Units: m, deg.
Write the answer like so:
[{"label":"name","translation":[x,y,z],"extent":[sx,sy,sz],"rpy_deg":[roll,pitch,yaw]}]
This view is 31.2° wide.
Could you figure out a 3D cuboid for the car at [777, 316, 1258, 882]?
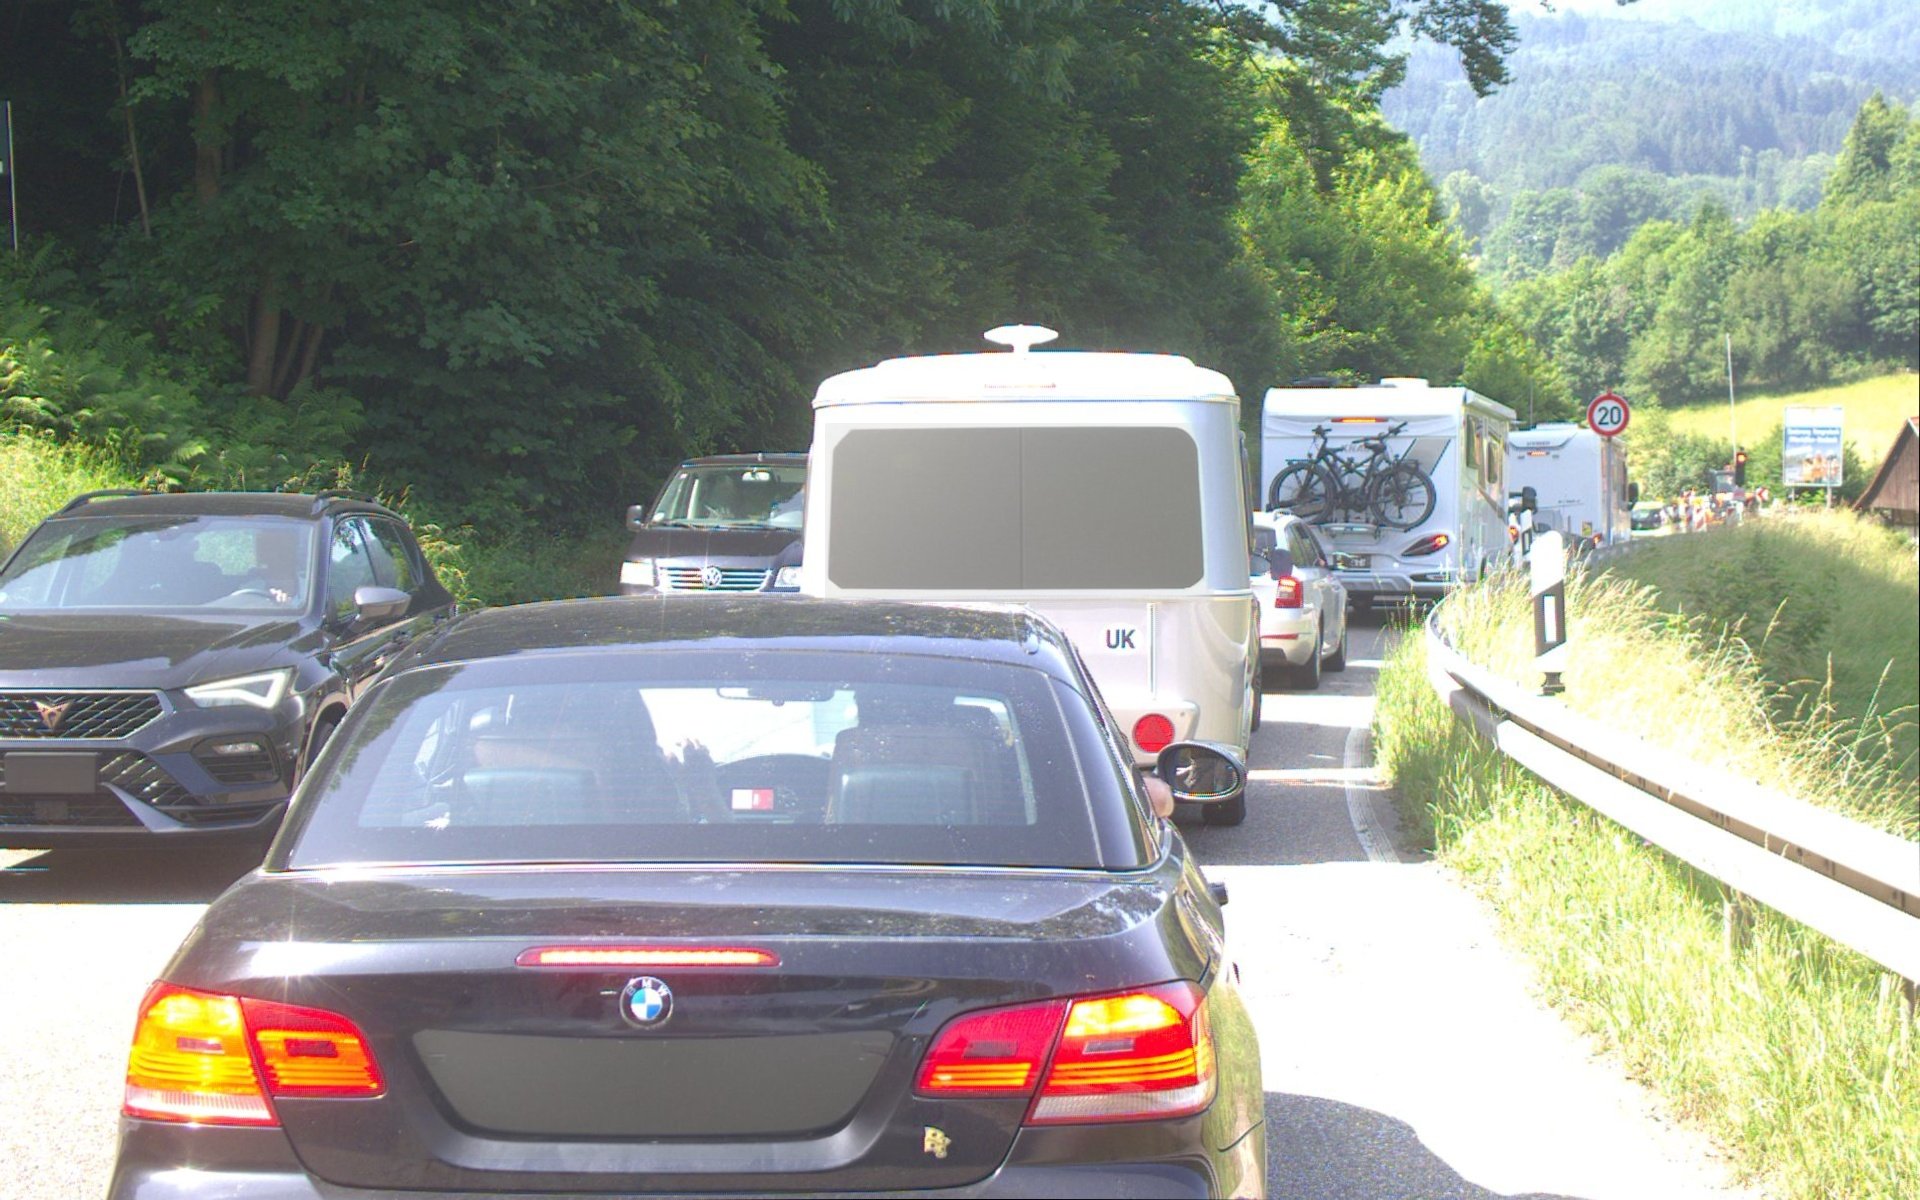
[{"label":"car","translation":[0.427,-0.087,16.775],"extent":[1.994,2.345,4.913],"rpy_deg":[0,2,5]}]

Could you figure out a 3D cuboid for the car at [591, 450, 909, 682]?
[{"label":"car","translation":[-1.741,-0.343,30.079],"extent":[1.919,1.820,4.490],"rpy_deg":[2,2,7]}]

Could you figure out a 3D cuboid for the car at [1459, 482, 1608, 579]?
[{"label":"car","translation":[9.453,-1.171,56.461],"extent":[1.789,1.459,3.997],"rpy_deg":[3,3,18]}]

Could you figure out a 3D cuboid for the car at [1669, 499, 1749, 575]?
[{"label":"car","translation":[20.555,-1.710,94.344],"extent":[1.995,1.919,3.998],"rpy_deg":[4,1,13]}]

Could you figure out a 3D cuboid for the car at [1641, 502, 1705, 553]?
[{"label":"car","translation":[25.219,-2.547,121.539],"extent":[1.995,1.678,3.997],"rpy_deg":[1,0,15]}]

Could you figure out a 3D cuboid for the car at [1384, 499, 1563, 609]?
[{"label":"car","translation":[7.629,-0.715,50.793],"extent":[1.995,1.459,3.997],"rpy_deg":[3,3,17]}]

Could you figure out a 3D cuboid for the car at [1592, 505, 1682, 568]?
[{"label":"car","translation":[16.781,-1.552,85.104],"extent":[1.908,1.481,3.997],"rpy_deg":[1,1,15]}]

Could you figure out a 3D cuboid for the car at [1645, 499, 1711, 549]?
[{"label":"car","translation":[23.366,-2.460,111.865],"extent":[1.995,1.570,3.998],"rpy_deg":[1,1,13]}]

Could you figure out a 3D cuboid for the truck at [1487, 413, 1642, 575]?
[{"label":"truck","translation":[11.108,-1.871,62.777],"extent":[2.239,2.794,6.228],"rpy_deg":[1,1,15]}]

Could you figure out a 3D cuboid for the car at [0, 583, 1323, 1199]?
[{"label":"car","translation":[-0.350,0.679,6.305],"extent":[1.771,1.331,3.767],"rpy_deg":[0,1,2]}]

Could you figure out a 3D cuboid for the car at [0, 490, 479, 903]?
[{"label":"car","translation":[-3.391,0.305,15.229],"extent":[1.822,1.579,4.083],"rpy_deg":[0,2,2]}]

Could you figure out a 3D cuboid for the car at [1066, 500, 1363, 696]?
[{"label":"car","translation":[2.229,-0.070,29.103],"extent":[1.994,1.479,3.998],"rpy_deg":[2,2,11]}]

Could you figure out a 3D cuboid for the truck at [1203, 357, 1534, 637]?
[{"label":"truck","translation":[5.042,-1.262,41.281],"extent":[2.793,2.987,6.863],"rpy_deg":[3,3,16]}]
